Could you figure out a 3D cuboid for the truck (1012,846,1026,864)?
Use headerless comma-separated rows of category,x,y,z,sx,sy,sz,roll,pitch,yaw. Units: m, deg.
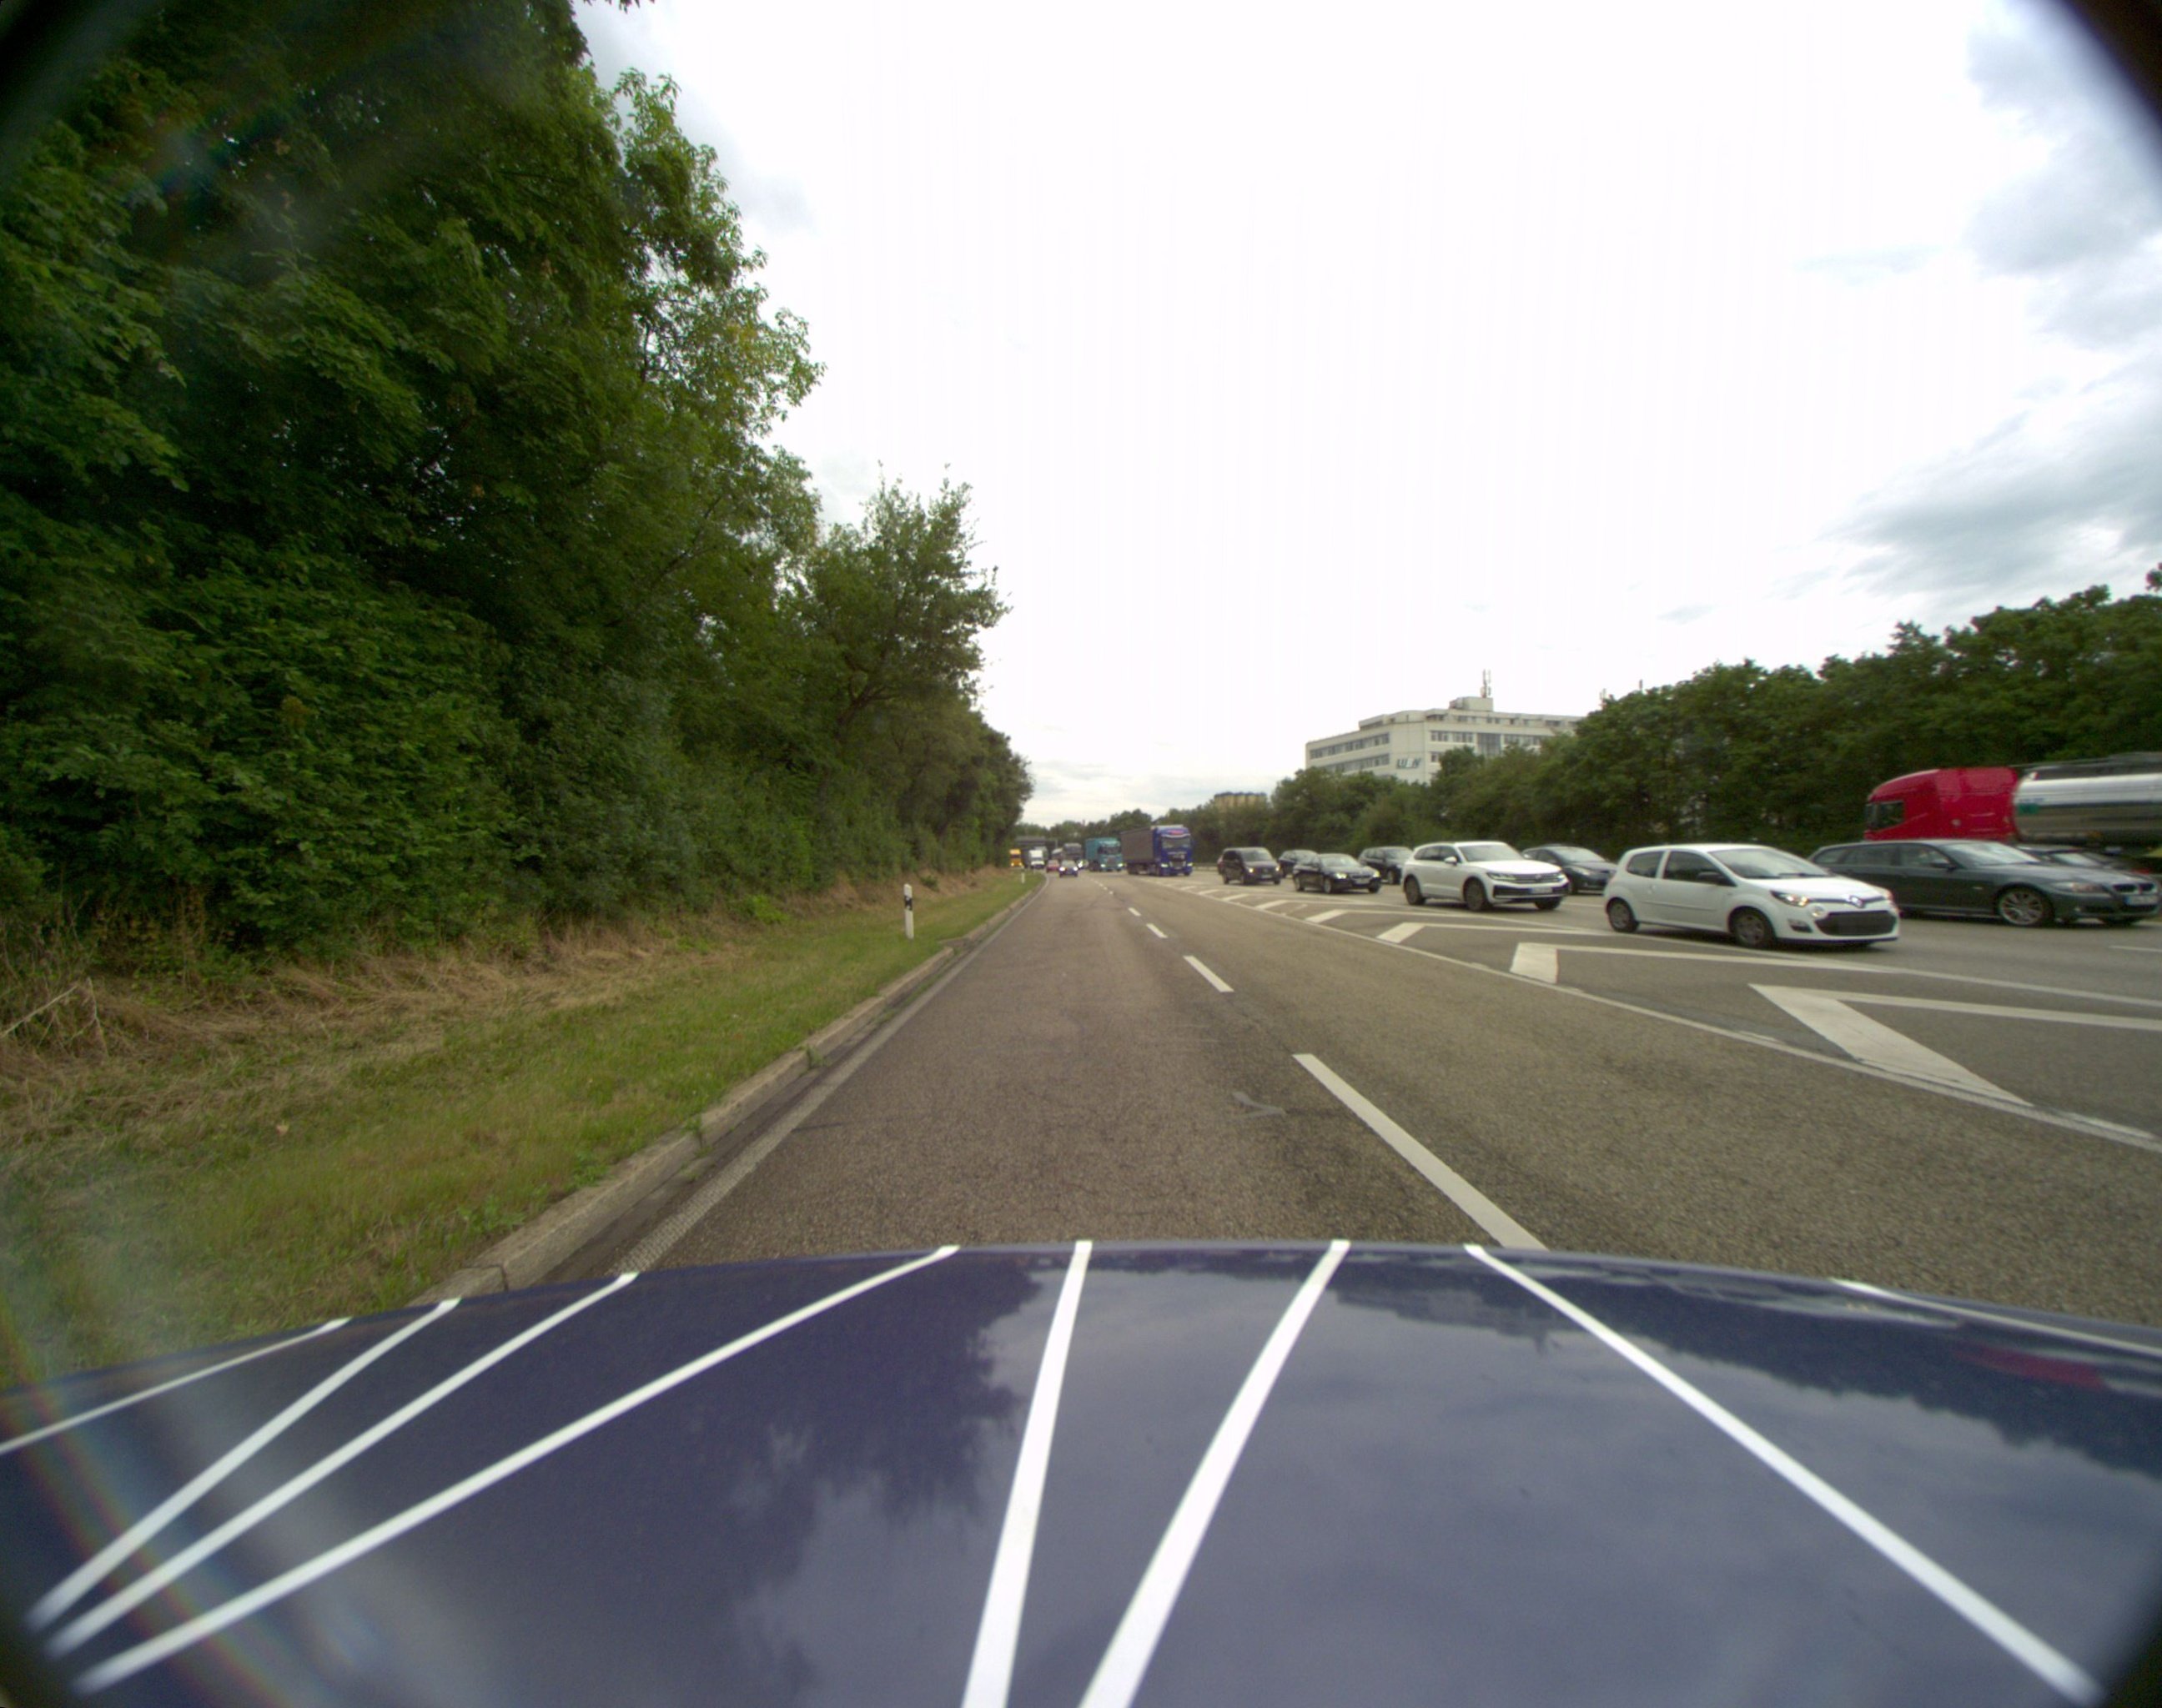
truck,-14.214,0.292,174.133,2.548,3.949,6.469,-1,0,-10

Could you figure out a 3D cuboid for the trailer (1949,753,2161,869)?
trailer,26.145,-1.033,15.812,2.478,2.655,11.370,-2,1,-5

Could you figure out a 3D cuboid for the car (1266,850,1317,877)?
car,12.762,0.553,46.252,1.691,1.565,3.998,-1,0,-5

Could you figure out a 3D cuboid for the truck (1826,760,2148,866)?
truck,25.669,-1.057,22.016,2.331,2.607,5.687,-2,1,-4

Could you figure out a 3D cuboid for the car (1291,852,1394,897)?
car,9.663,0.708,28.566,1.852,1.451,4.828,-2,1,-4

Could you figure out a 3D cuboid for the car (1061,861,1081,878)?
car,-0.929,1.402,69.608,1.628,1.433,3.999,-1,0,-4

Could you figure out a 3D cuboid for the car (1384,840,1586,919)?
car,9.871,0.562,19.223,1.916,1.650,5.378,-1,0,-4

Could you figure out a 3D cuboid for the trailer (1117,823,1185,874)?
trailer,5.907,-0.488,67.330,2.635,3.999,13.452,-3,1,-9

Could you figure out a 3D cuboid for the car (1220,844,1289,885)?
car,8.820,0.527,39.045,1.999,1.894,5.078,-3,0,-4

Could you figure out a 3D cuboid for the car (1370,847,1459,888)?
car,14.049,0.543,32.282,1.650,1.602,3.998,-1,0,-6

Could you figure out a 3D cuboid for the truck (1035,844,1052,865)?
truck,-7.113,0.110,142.923,2.547,3.949,6.470,-1,0,-8

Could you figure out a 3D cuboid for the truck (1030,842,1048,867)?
truck,-6.938,0.083,124.802,2.255,3.949,6.623,-1,0,-8

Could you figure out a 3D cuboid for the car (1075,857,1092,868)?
car,0.293,1.170,104.262,1.753,1.413,3.661,-1,0,-9

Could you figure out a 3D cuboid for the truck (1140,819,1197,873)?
truck,6.918,-0.620,60.831,2.569,4.019,6.583,-3,1,-10

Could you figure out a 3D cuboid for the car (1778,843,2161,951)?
car,14.986,0.583,12.965,1.718,1.440,4.699,-2,1,-2

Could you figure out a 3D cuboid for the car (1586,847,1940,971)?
car,9.747,0.683,11.374,1.582,1.482,4.035,-1,0,-2

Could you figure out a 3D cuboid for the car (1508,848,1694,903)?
car,15.137,0.589,22.543,1.999,1.406,4.806,-2,0,-4

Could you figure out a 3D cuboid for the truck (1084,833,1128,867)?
truck,2.825,-0.435,90.367,2.939,3.774,11.321,-1,0,-9

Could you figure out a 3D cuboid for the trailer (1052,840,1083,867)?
trailer,-2.316,-0.050,122.651,2.847,4.013,13.074,-1,0,-11

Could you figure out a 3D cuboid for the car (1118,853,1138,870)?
car,6.049,0.954,97.649,1.674,2.002,3.997,-1,0,-10
